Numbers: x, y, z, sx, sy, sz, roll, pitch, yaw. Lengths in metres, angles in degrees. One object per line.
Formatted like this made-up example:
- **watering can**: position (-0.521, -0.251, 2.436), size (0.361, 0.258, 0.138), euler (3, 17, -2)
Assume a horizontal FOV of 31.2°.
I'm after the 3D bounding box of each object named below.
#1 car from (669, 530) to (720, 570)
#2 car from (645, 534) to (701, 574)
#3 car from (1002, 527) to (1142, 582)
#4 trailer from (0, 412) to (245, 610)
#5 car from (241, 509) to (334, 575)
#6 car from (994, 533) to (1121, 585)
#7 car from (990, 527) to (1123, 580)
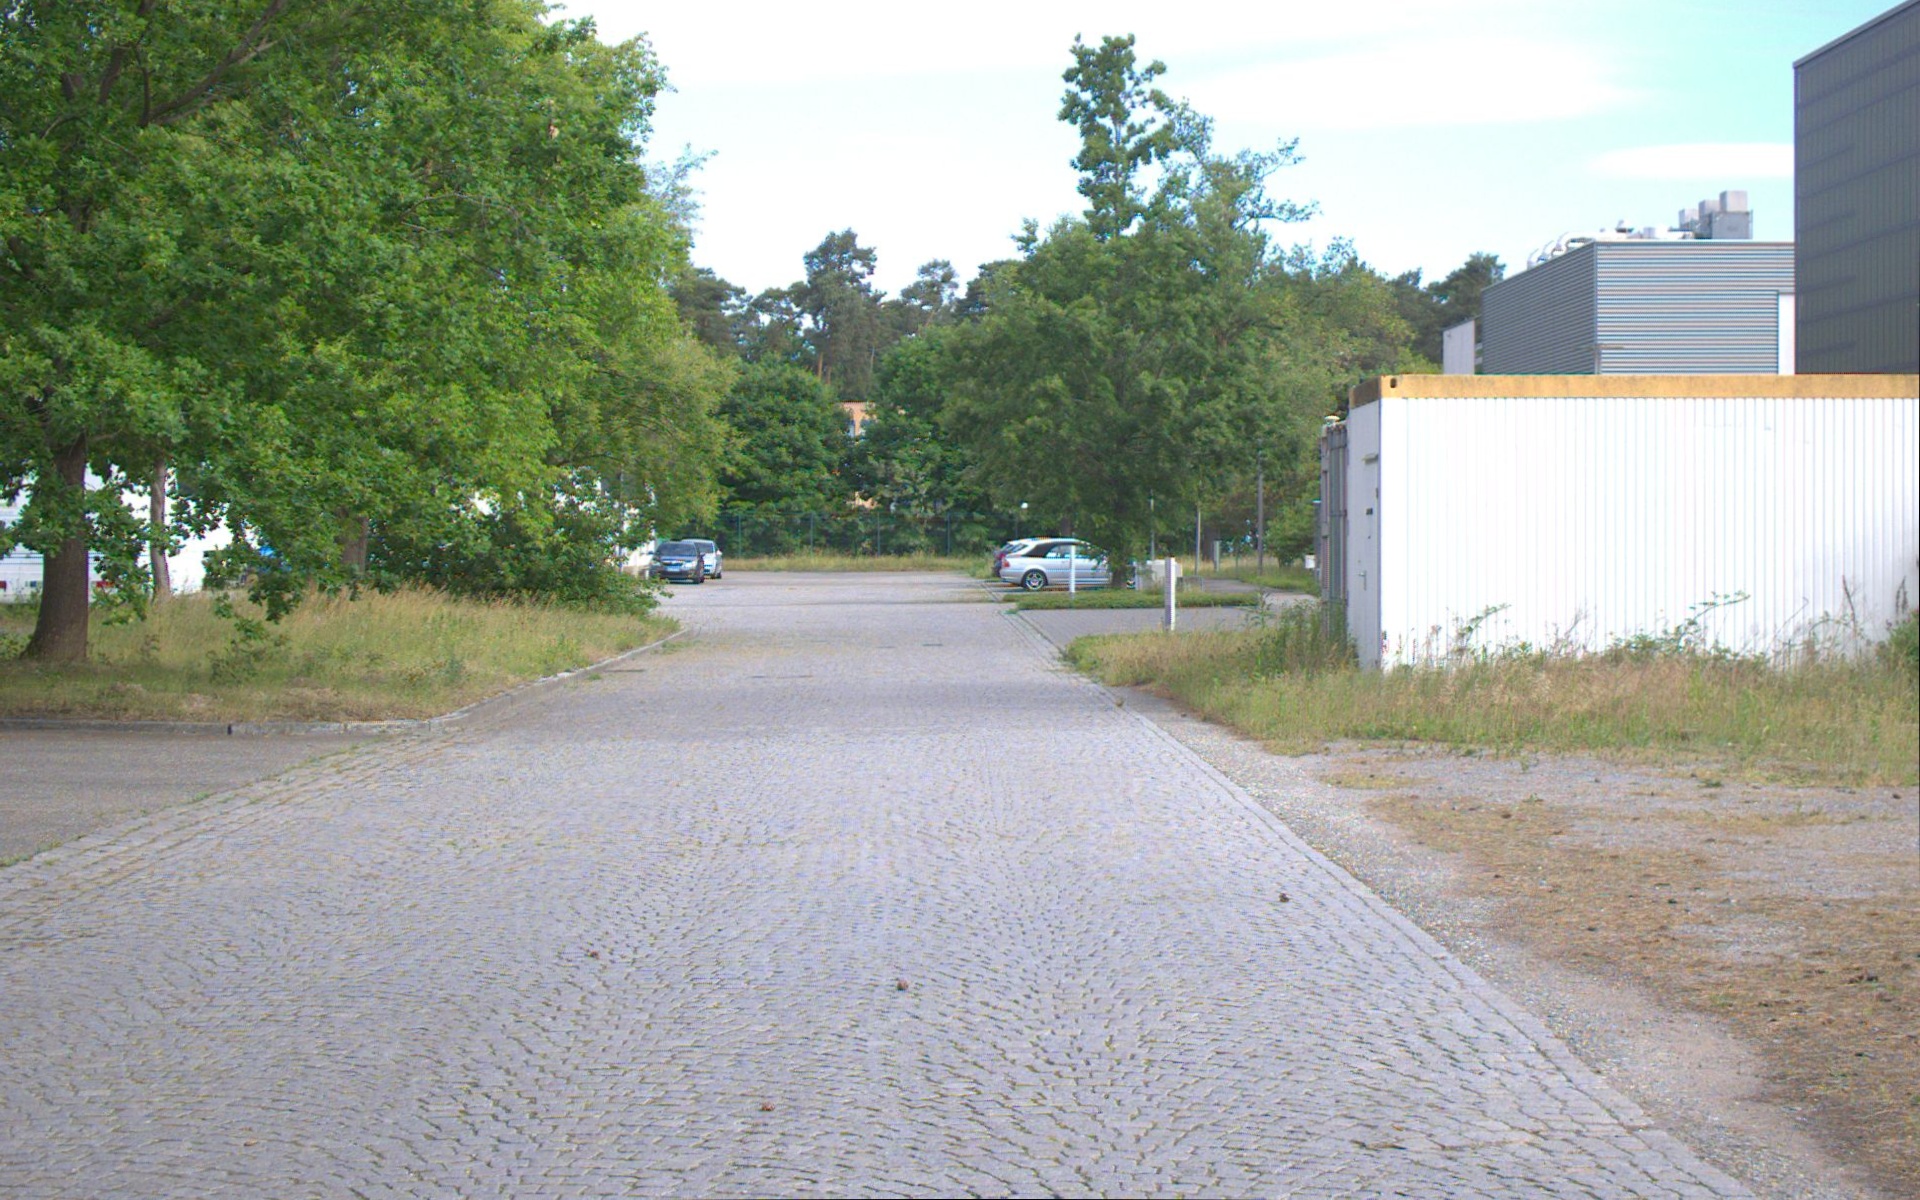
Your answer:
- **car**: position (-9.986, -1.898, 129.630), size (1.647, 1.453, 3.998), euler (0, 1, -1)
- **car**: position (-9.947, -1.610, 119.290), size (1.647, 1.364, 3.998), euler (0, 1, -1)
- **car**: position (3.265, -1.336, 100.497), size (3.984, 1.443, 1.653), euler (-2, 1, 0)
- **trailer**: position (-16.499, -1.713, 67.352), size (2.625, 3.585, 10.177), euler (0, 1, 1)
- **car**: position (-20.942, -1.819, 107.194), size (1.993, 2.007, 4.767), euler (0, 1, 0)
- **car**: position (2.763, -1.172, 97.802), size (3.522, 1.357, 1.622), euler (-2, 1, 0)
- **car**: position (2.954, -1.438, 105.627), size (3.984, 1.470, 1.653), euler (-2, 1, 0)
